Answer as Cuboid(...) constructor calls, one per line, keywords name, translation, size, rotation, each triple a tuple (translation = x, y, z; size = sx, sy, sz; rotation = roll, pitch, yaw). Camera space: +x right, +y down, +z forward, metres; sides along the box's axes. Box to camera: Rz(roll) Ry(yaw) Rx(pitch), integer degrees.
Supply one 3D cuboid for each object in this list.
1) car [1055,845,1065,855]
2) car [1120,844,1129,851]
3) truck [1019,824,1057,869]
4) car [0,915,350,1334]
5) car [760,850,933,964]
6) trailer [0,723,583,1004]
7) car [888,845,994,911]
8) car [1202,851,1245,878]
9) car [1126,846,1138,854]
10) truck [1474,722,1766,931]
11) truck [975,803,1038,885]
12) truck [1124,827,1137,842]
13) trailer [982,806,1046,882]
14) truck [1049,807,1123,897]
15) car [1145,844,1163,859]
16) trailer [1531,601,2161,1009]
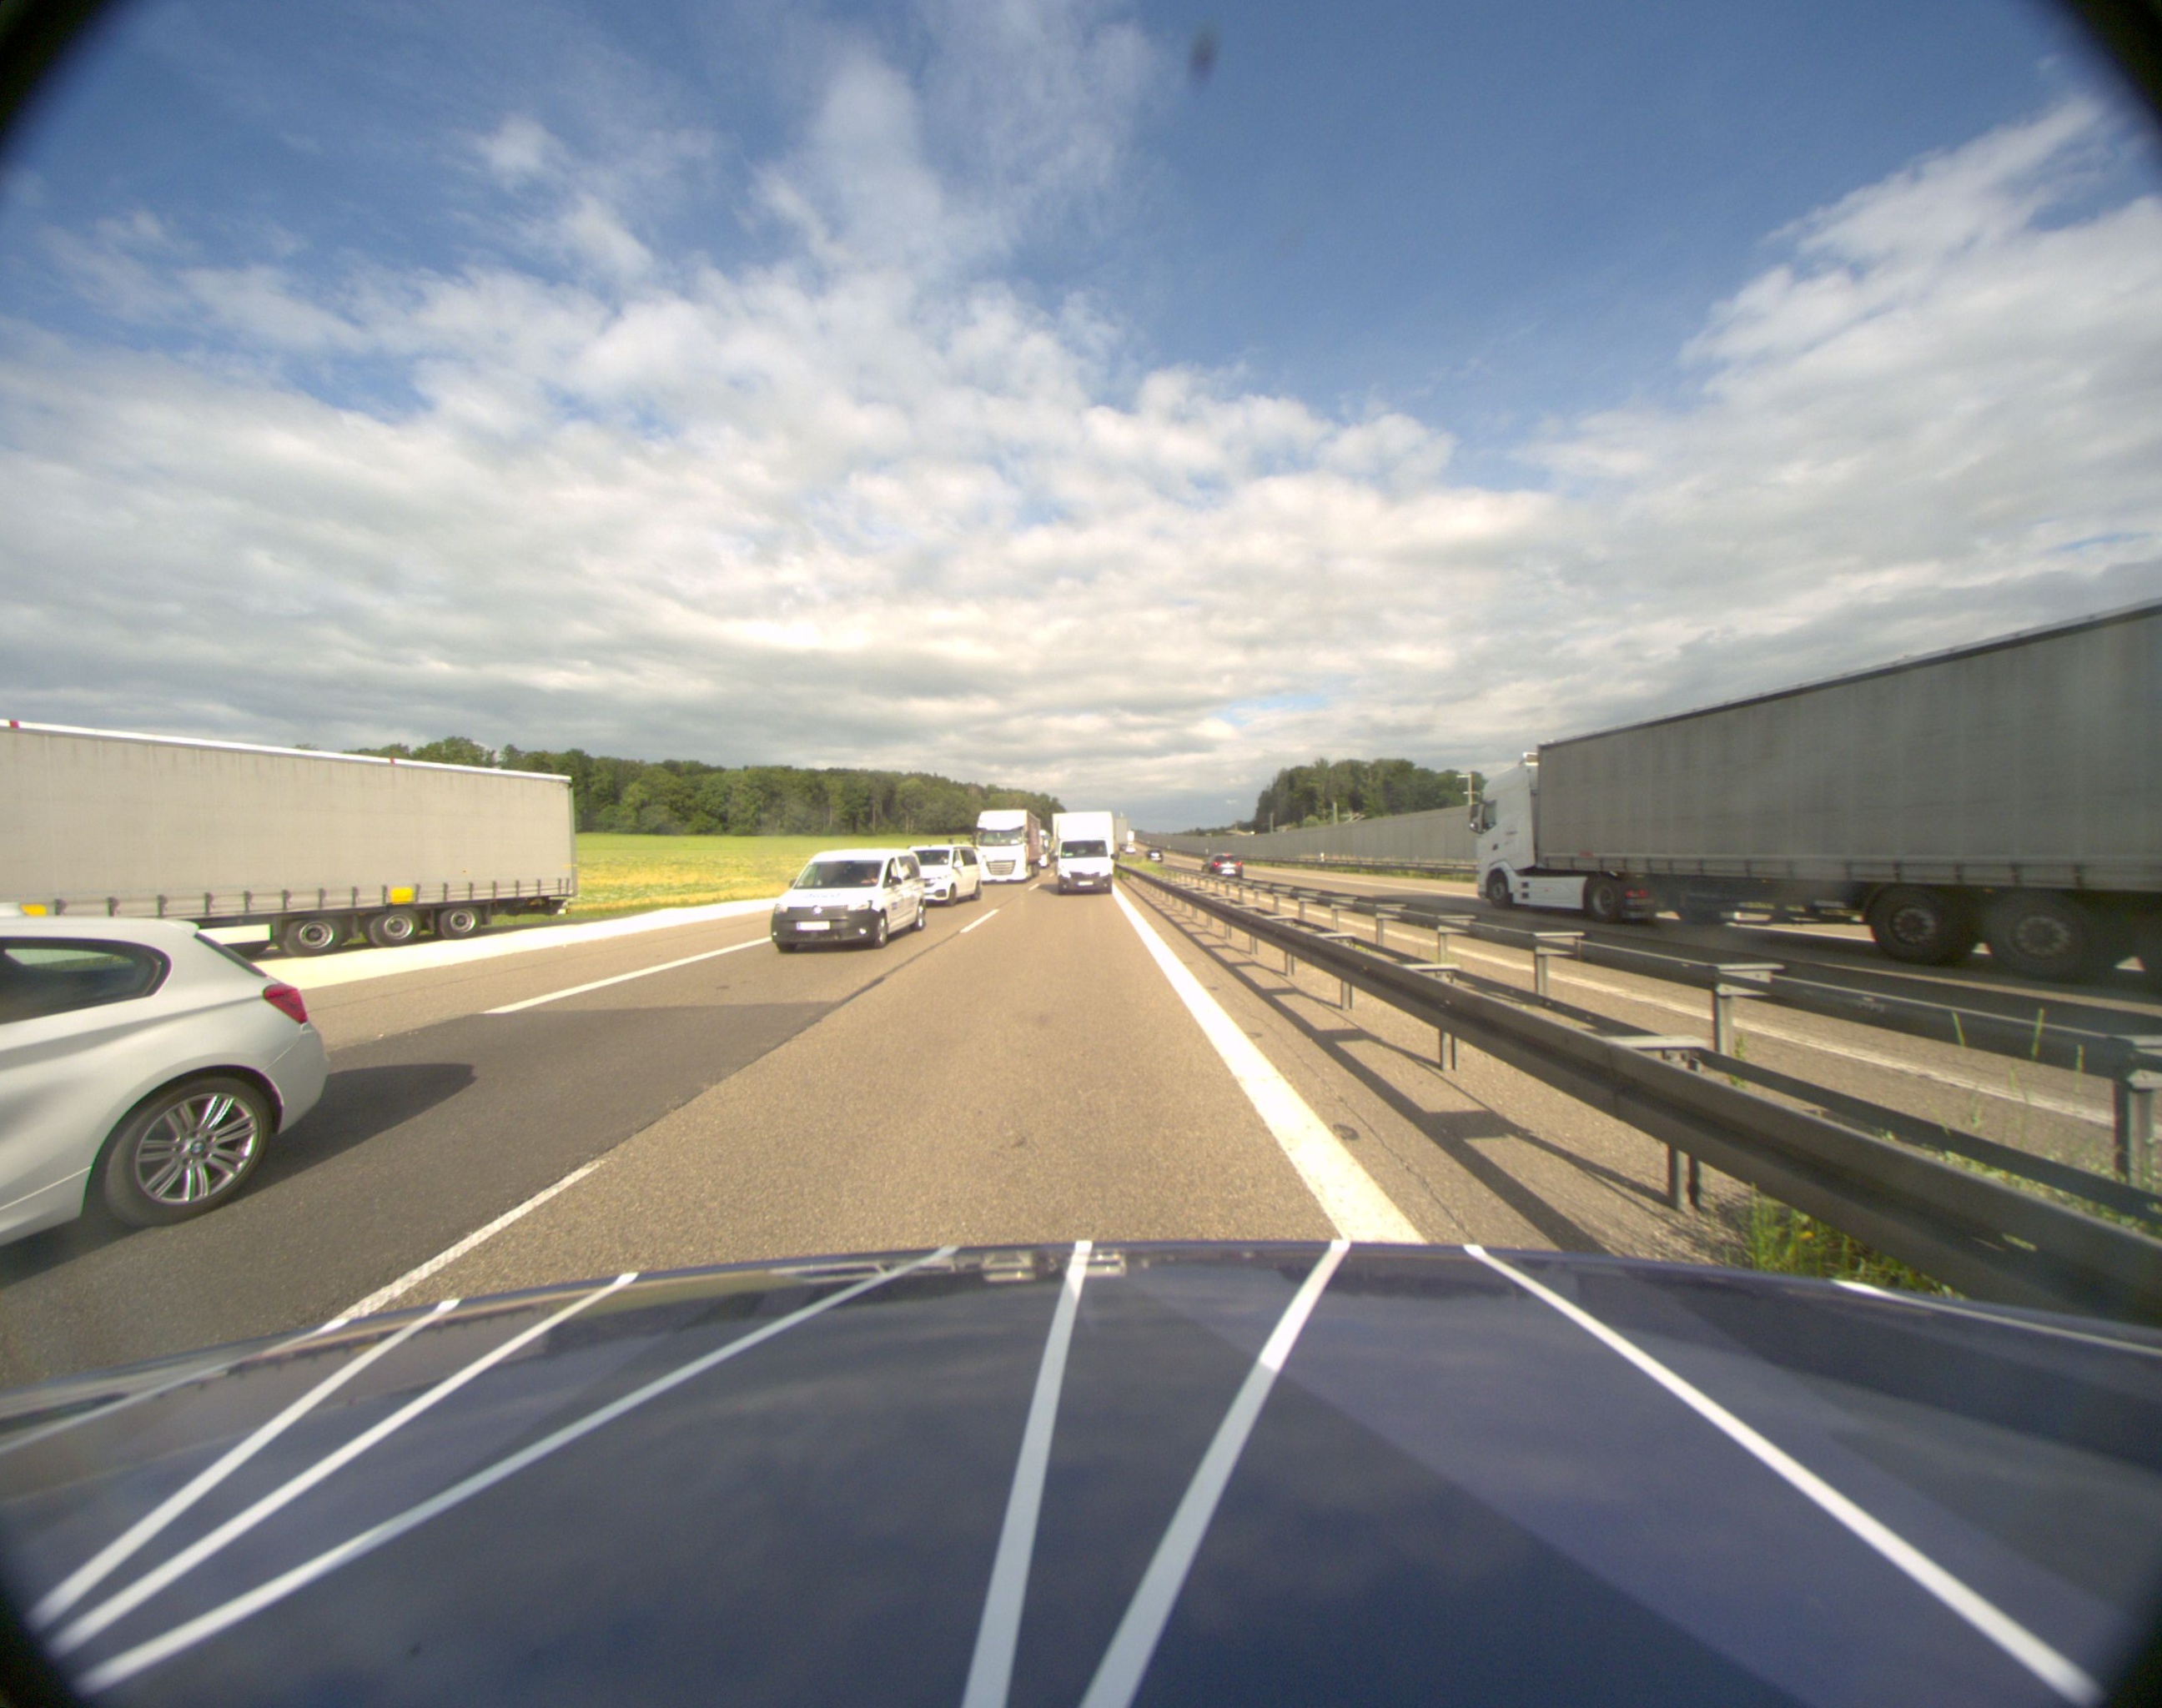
Cuboid(name="car", translation=(-4.002, -0.761, 145.068), size=(1.707, 1.746, 4.676), rotation=(-3, 0, 1))
Cuboid(name="car", translation=(9.319, -1.394, 163.290), size=(1.808, 1.454, 4.449), rotation=(-1, 0, 0))
Cuboid(name="truck", translation=(-4.092, -0.711, 75.401), size=(2.946, 4.094, 12.523), rotation=(-1, 0, 0))
Cuboid(name="car", translation=(-4.834, 1.087, 1.974), size=(1.708, 1.424, 4.231), rotation=(-3, 0, 0))
Cuboid(name="car", translation=(-4.225, 0.845, 14.566), size=(1.729, 1.746, 4.702), rotation=(-3, 0, 1))
Cuboid(name="trailer", translation=(-16.544, 0.148, 13.995), size=(2.739, 4.136, 13.843), rotation=(-2, 0, 15))
Cuboid(name="car", translation=(-4.525, 0.699, 25.454), size=(1.798, 1.914, 5.270), rotation=(-3, 0, 8))
Cuboid(name="car", translation=(7.805, 0.564, 41.982), size=(1.637, 1.393, 3.896), rotation=(-1, 0, 0))
Cuboid(name="car", translation=(9.326, -0.769, 139.274), size=(1.721, 1.454, 4.449), rotation=(-1, 0, 0))
Cuboid(name="truck", translation=(12.041, -0.548, 17.762), size=(2.692, 4.045, 5.878), rotation=(-1, 0, 0))
Cuboid(name="truck", translation=(-4.058, -0.585, 42.371), size=(2.736, 4.150, 5.766), rotation=(-2, 1, 0))
Cuboid(name="truck", translation=(14.227, -5.697, 219.210), size=(2.952, 4.037, 11.745), rotation=(-2, 1, 0))
Cuboid(name="trailer", translation=(-4.052, -0.701, 49.488), size=(2.742, 4.137, 14.016), rotation=(-2, 1, 0))
Cuboid(name="truck", translation=(0.199, -0.095, 32.982), size=(2.500, 3.082, 12.037), rotation=(-2, 0, 0))
Cuboid(name="car", translation=(8.570, -0.293, 89.020), size=(1.720, 1.586, 4.449), rotation=(-1, 0, 1))
Cuboid(name="trailer", translation=(11.999, -0.507, 11.151), size=(2.690, 4.014, 13.790), rotation=(-1, 0, 0))
